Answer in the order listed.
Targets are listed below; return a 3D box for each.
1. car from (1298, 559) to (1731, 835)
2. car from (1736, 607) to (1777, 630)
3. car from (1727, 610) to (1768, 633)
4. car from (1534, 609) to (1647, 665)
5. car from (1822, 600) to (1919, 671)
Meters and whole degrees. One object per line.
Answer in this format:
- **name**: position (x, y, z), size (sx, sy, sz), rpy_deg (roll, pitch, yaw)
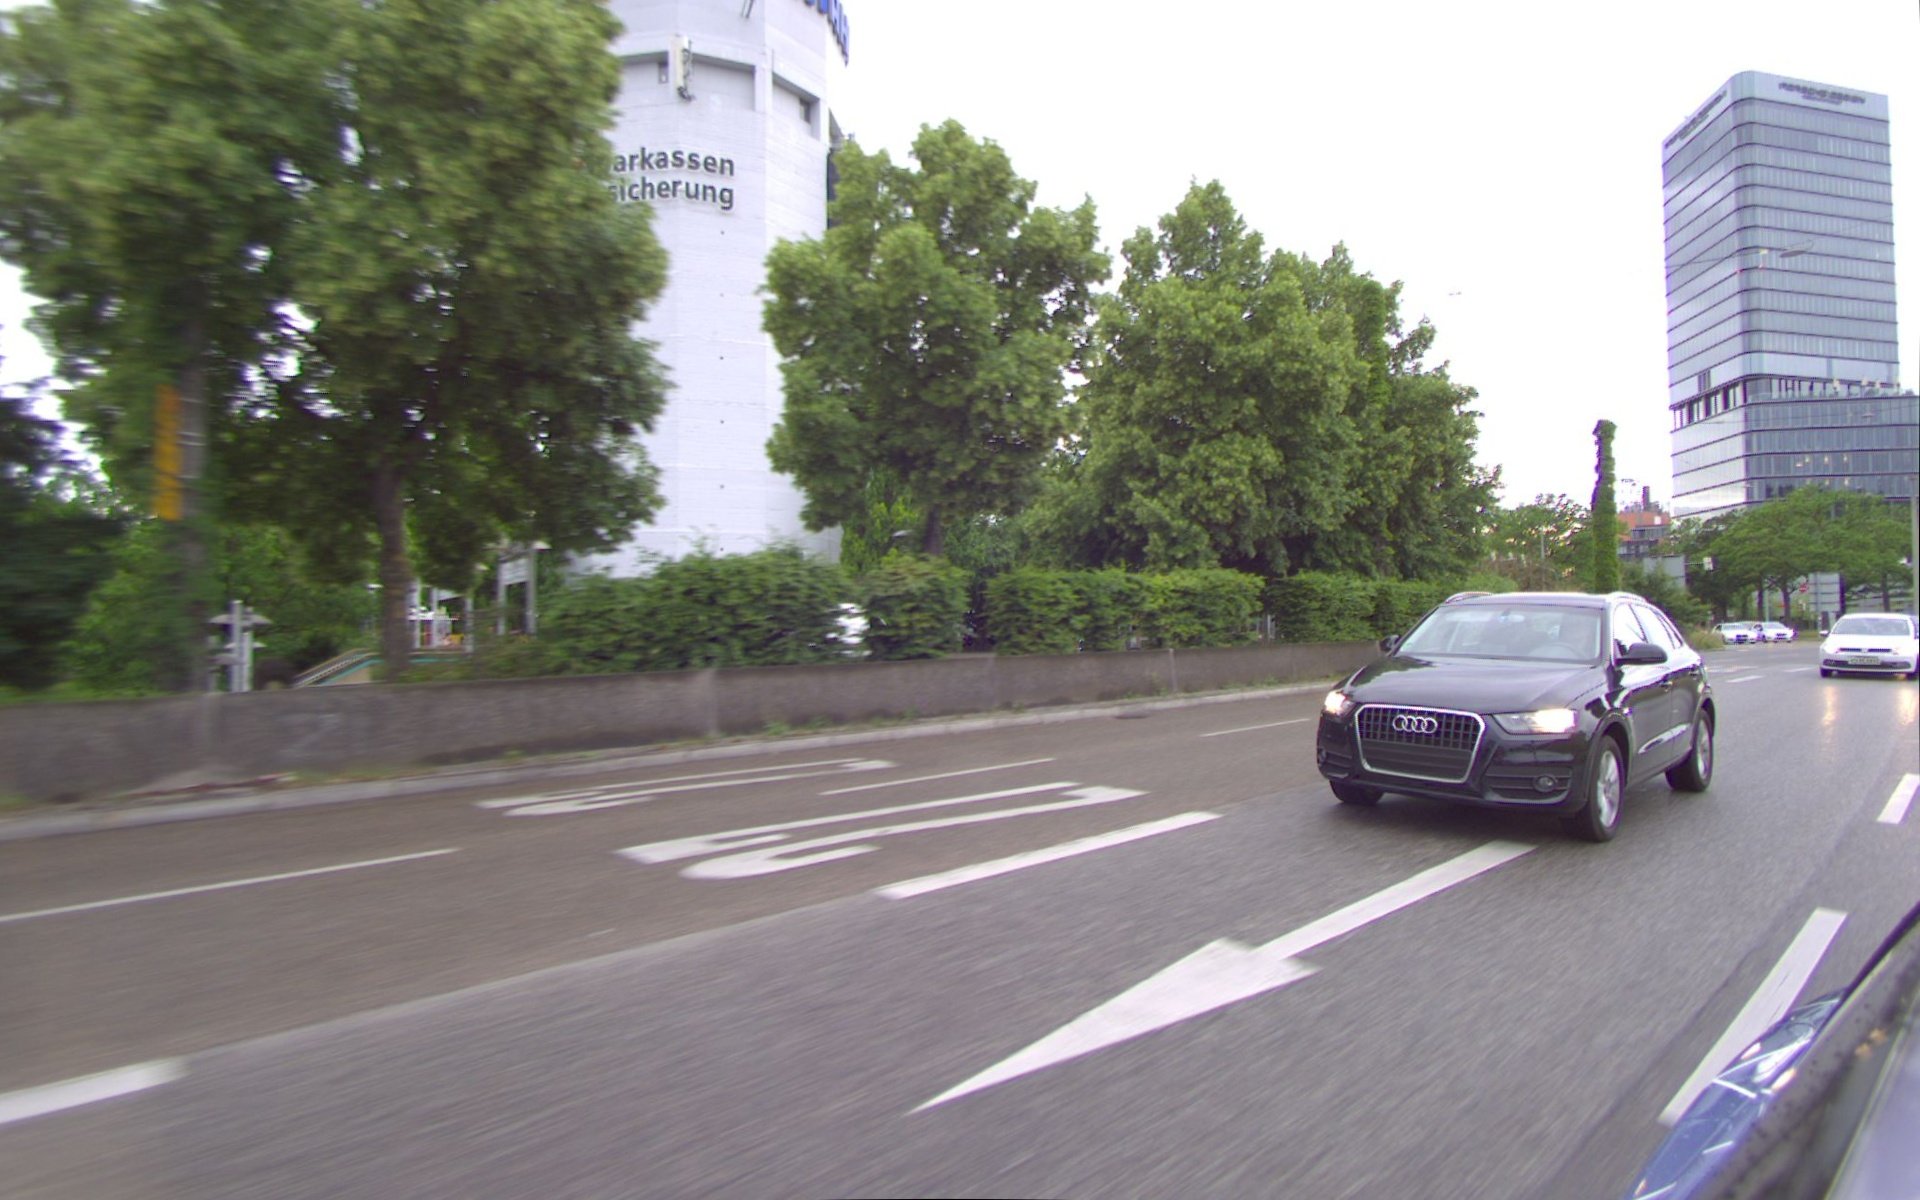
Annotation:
- **car**: position (4.404, 0.595, 7.751), size (4.057, 1.554, 1.726), rpy_deg (1, -3, -44)
- **car**: position (91.784, 2.147, 116.635), size (1.906, 2.618, 5.423), rpy_deg (-2, -2, 19)
- **car**: position (54.365, 1.477, 69.850), size (3.615, 1.495, 1.632), rpy_deg (0, -2, -44)
- **car**: position (17.476, 0.996, 27.991), size (3.934, 1.416, 1.755), rpy_deg (0, -2, -45)
- **car**: position (21.330, 0.777, 23.192), size (4.189, 1.491, 1.728), rpy_deg (0, -3, -41)
